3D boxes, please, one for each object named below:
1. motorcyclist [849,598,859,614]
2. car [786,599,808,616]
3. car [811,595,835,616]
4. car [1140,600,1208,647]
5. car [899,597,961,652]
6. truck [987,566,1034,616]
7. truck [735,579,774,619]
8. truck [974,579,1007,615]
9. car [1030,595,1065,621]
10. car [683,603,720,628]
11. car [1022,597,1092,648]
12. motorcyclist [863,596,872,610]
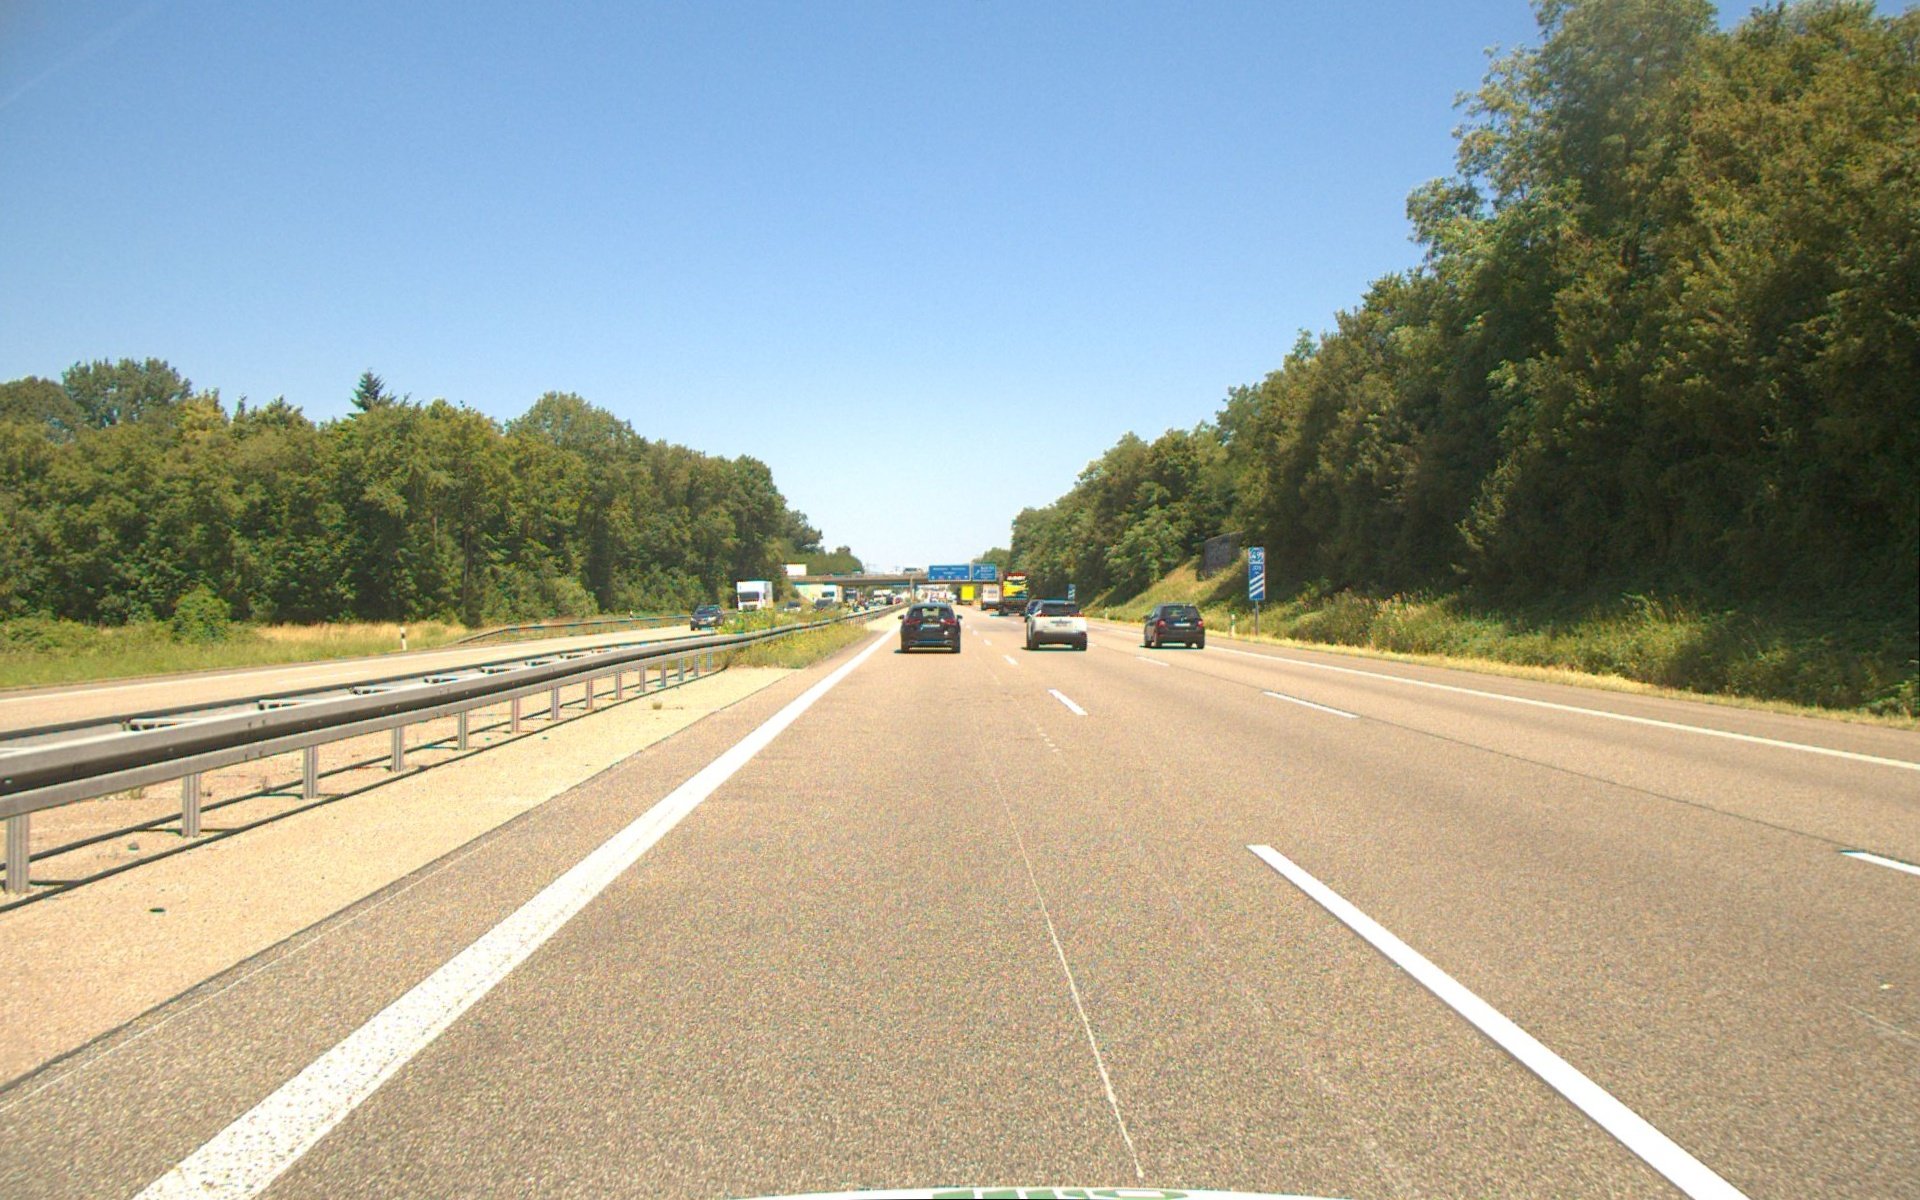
[{"bbox_3d":[-12.743,0.730,198.604,1.129,1.847,1.027,-1,0,-1],"label":"motorcyclist"},{"bbox_3d":[-15.604,0.715,158.385,1.763,1.559,4.239,0,0,-2],"label":"car"},{"bbox_3d":[-11.425,0.419,138.069,1.763,1.725,4.240,0,0,-1],"label":"car"},{"bbox_3d":[7.156,0.754,55.584,1.753,1.487,3.949,0,0,0],"label":"car"},{"bbox_3d":[-0.925,0.691,48.970,1.763,1.528,4.240,0,0,-2],"label":"car"},{"bbox_3d":[4.890,-0.811,163.332,3.574,4.670,15.760,1,0,-2],"label":"truck"},{"bbox_3d":[-20.033,-0.102,161.452,2.739,3.696,10.693,-1,0,-2],"label":"truck"},{"bbox_3d":[4.033,-0.307,225.939,3.574,4.670,17.240,1,0,-2],"label":"truck"},{"bbox_3d":[6.212,0.562,117.740,2.034,1.781,4.240,-1,0,-2],"label":"car"},{"bbox_3d":[-16.467,0.959,105.352,1.763,1.559,4.676,0,0,-2],"label":"car"},{"bbox_3d":[3.049,0.693,52.860,1.861,1.559,4.240,0,0,-2],"label":"car"},{"bbox_3d":[-12.858,0.411,229.116,1.129,1.847,1.027,-1,0,-1],"label":"motorcyclist"}]
